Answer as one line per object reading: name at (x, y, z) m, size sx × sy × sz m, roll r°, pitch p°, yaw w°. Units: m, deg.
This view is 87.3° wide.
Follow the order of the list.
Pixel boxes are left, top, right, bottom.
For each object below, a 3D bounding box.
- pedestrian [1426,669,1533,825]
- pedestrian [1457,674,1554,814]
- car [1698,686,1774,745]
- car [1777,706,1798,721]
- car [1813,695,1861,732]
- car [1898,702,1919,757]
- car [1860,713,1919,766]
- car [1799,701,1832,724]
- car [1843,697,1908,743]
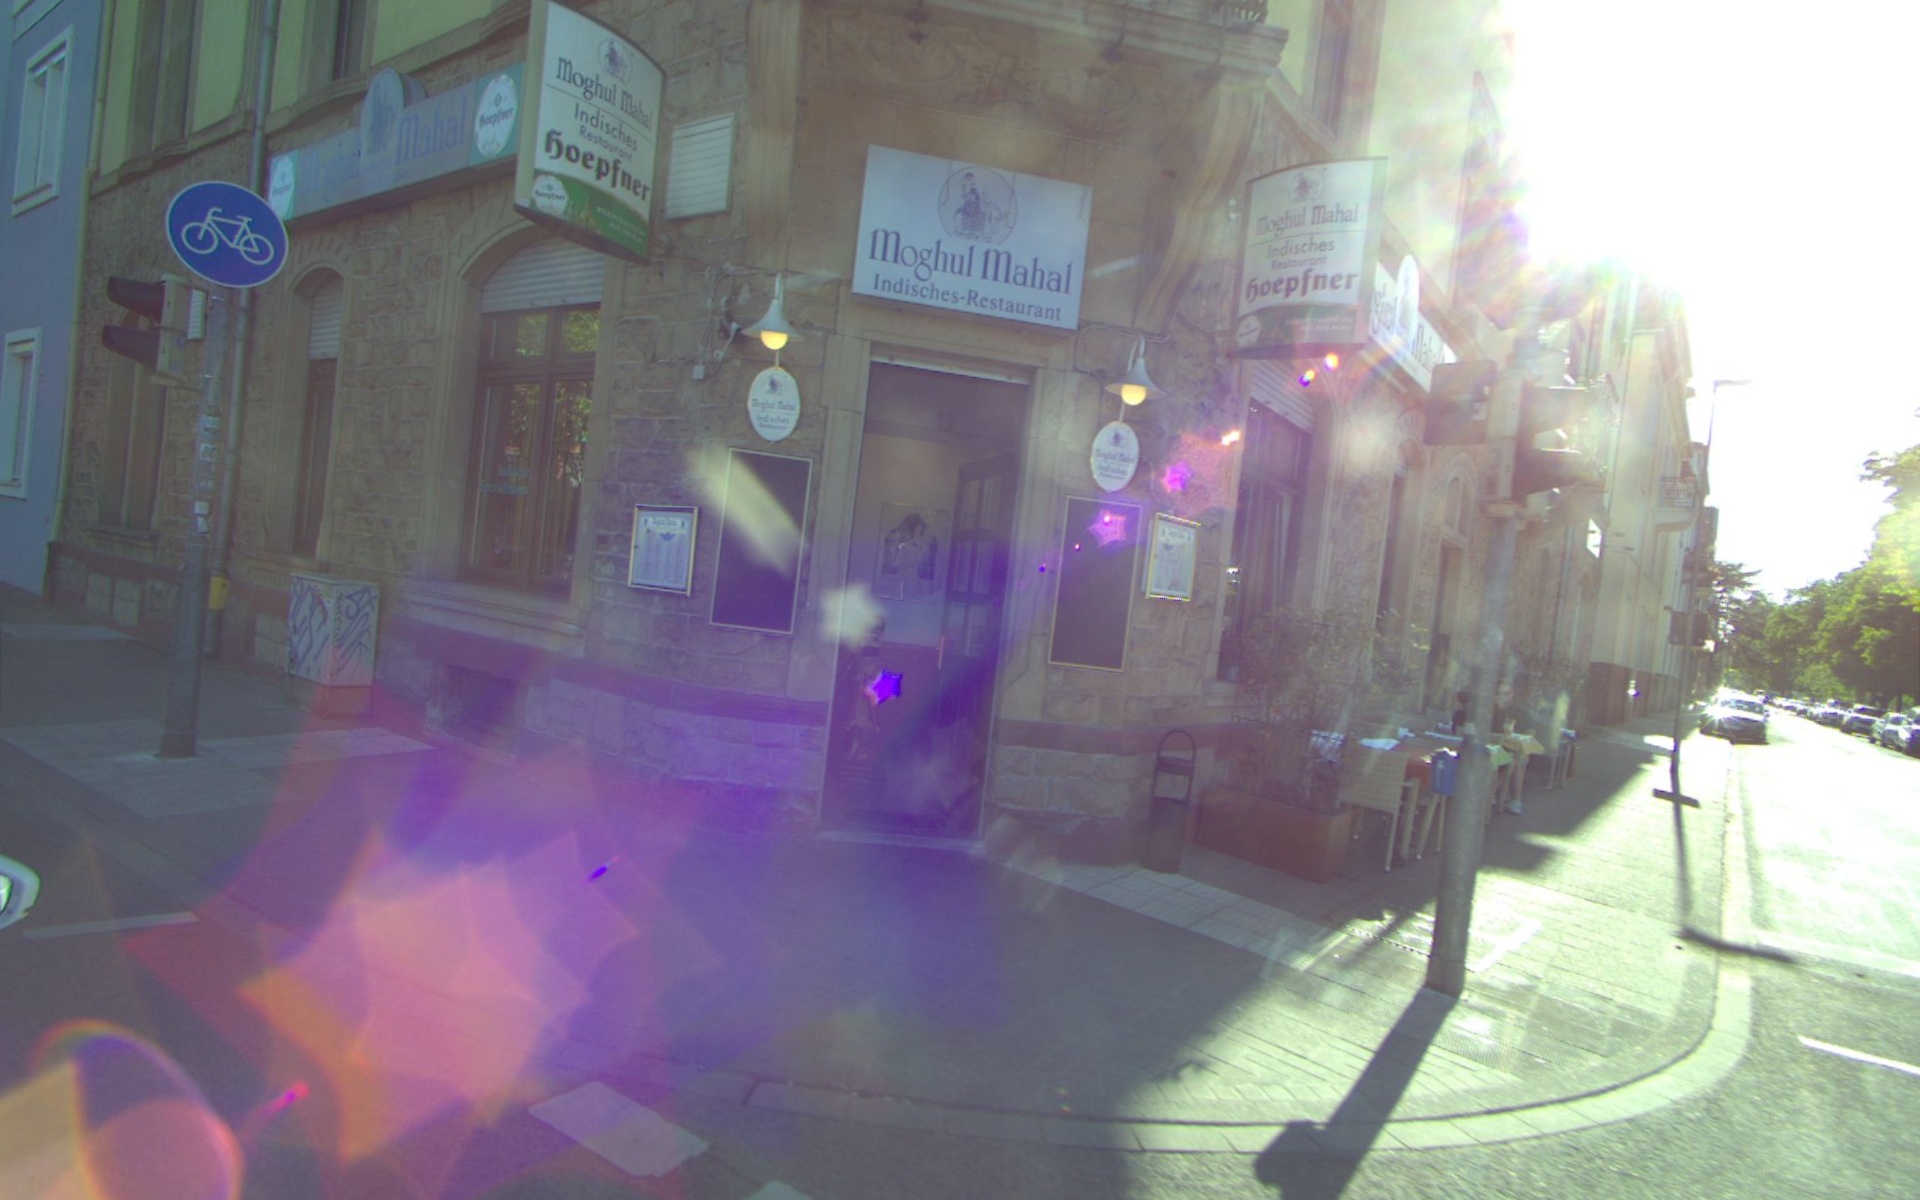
pedestrian at (5.095, 1.418, 9.858) m, size 0.691 × 1.376 × 0.638 m, roll 8°, pitch 0°, yaw 36°
pedestrian at (5.956, 1.546, 10.983) m, size 0.691 × 1.377 × 0.638 m, roll 8°, pitch 1°, yaw 36°
car at (26.998, 4.049, 35.007) m, size 1.800 × 1.625 × 3.840 m, roll 10°, pitch 0°, yaw 39°
car at (98.158, 13.433, 119.409) m, size 1.625 × 1.537 × 3.392 m, roll 8°, pitch 0°, yaw 37°
car at (57.458, 7.456, 65.952) m, size 1.899 × 2.055 × 4.647 m, roll 8°, pitch -1°, yaw 38°
car at (36.146, 4.912, 37.119) m, size 1.901 × 1.904 × 3.690 m, roll 8°, pitch -1°, yaw 41°
car at (39.099, 5.829, 41.854) m, size 1.898 × 1.904 × 4.055 m, roll 8°, pitch -1°, yaw 37°
car at (68.020, 8.974, 80.055) m, size 1.625 × 1.537 × 3.394 m, roll 8°, pitch -1°, yaw 37°
car at (46.061, 6.054, 50.687) m, size 1.898 × 1.904 × 3.694 m, roll 8°, pitch -1°, yaw 37°
